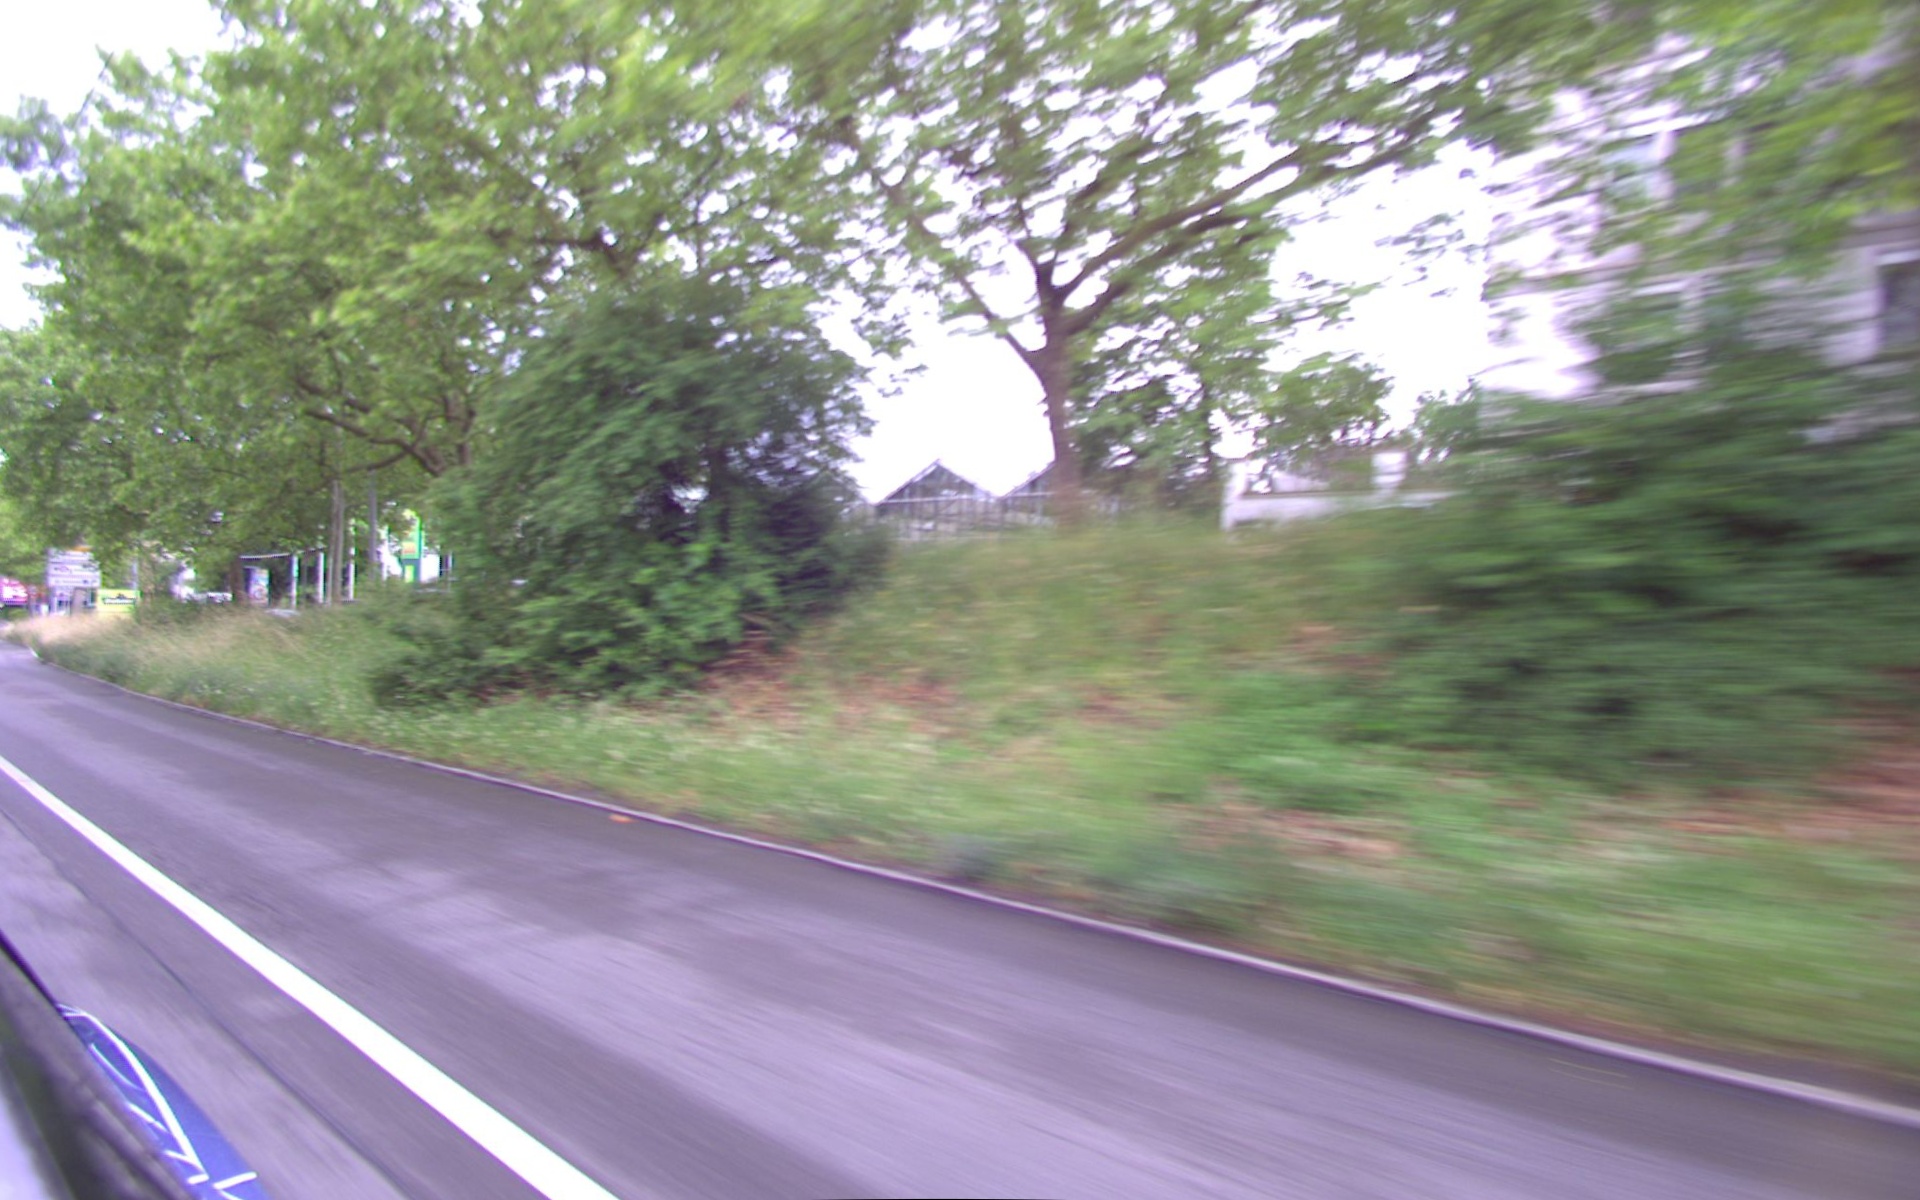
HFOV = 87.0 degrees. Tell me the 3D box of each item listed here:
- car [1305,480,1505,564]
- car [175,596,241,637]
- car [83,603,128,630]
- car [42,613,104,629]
[{"bbox_3d":[7.926,-1.327,18.113,3.011,1.308,1.369,1,0,38],"label":"car"},{"bbox_3d":[-47.829,1.087,64.314,5.647,2.462,1.944,-2,-3,38],"label":"car"},{"bbox_3d":[-47.939,0.907,56.752,3.706,1.405,1.346,1,0,41],"label":"car"},{"bbox_3d":[-108.301,2.528,123.569,2.215,1.815,5.308,1,0,35],"label":"car"}]
